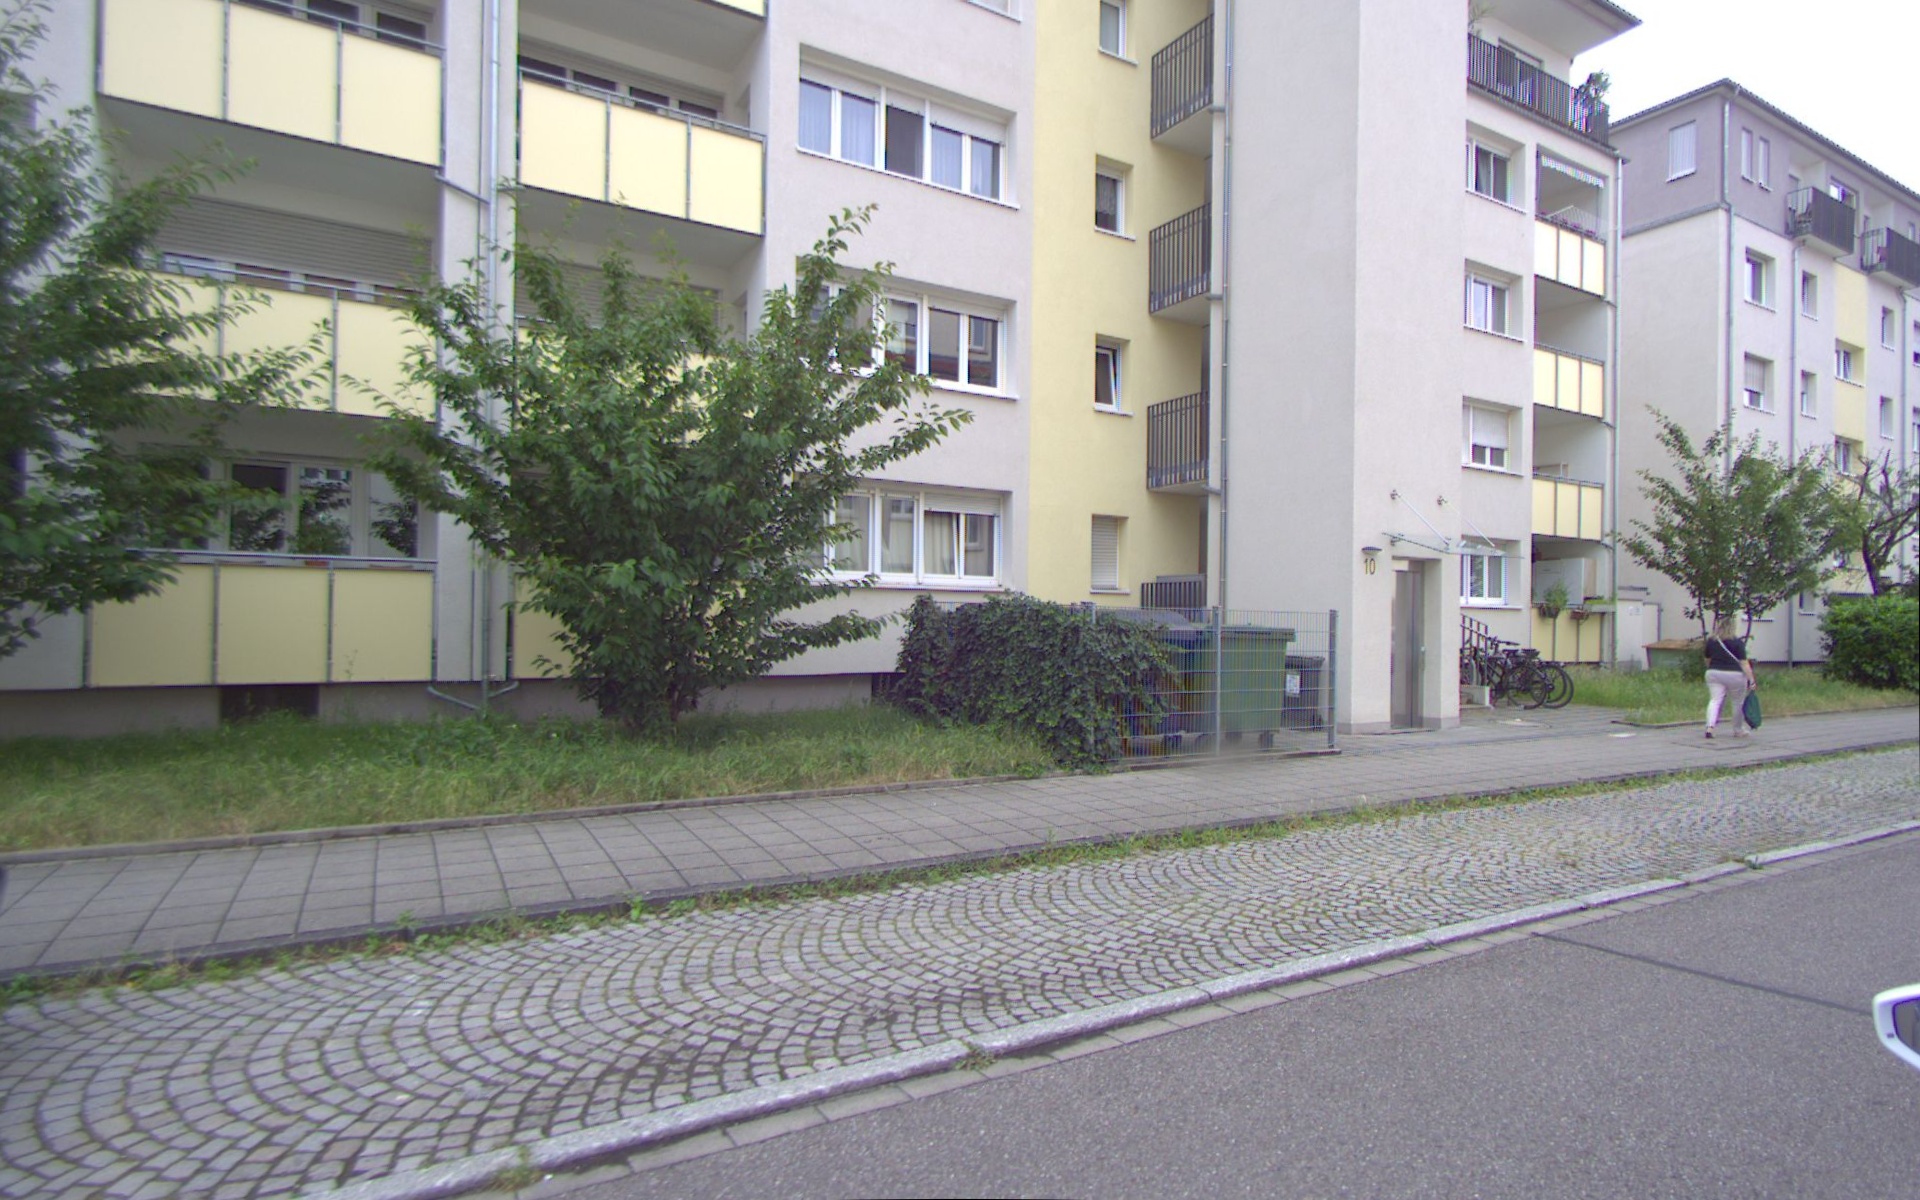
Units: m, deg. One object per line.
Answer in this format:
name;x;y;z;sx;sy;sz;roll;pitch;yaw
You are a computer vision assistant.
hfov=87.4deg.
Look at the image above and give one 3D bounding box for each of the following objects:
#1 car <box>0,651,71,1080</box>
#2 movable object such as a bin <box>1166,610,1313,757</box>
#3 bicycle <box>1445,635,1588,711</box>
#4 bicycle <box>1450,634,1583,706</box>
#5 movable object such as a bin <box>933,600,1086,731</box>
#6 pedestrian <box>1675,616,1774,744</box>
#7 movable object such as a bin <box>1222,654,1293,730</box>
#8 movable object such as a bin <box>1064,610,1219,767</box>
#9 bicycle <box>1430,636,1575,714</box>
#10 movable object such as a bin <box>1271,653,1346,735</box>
car;-4.855;0.835;1.999;4.313;1.341;1.860;2;0;-32
movable object such as a bin;2.943;0.841;10.605;1.271;1.448;0.801;1;0;-27
bicycle;9.295;1.188;16.846;0.618;1.156;2.006;1;-1;-39
bicycle;9.782;1.201;17.744;0.616;1.156;2.011;1;-1;-33
movable object such as a bin;0.599;0.767;12.405;1.357;1.484;1.345;1;0;-31
pedestrian;10.251;1.037;13.468;0.937;1.631;0.794;1;-1;-34
movable object such as a bin;3.916;1.193;13.228;0.644;0.934;0.633;1;-1;-30
movable object such as a bin;1.798;0.837;9.977;1.272;1.448;0.800;1;0;-28
bicycle;8.825;1.186;16.425;0.618;1.156;2.006;1;-1;-39
movable object such as a bin;4.428;1.180;12.763;0.644;0.977;0.633;1;-1;-30
